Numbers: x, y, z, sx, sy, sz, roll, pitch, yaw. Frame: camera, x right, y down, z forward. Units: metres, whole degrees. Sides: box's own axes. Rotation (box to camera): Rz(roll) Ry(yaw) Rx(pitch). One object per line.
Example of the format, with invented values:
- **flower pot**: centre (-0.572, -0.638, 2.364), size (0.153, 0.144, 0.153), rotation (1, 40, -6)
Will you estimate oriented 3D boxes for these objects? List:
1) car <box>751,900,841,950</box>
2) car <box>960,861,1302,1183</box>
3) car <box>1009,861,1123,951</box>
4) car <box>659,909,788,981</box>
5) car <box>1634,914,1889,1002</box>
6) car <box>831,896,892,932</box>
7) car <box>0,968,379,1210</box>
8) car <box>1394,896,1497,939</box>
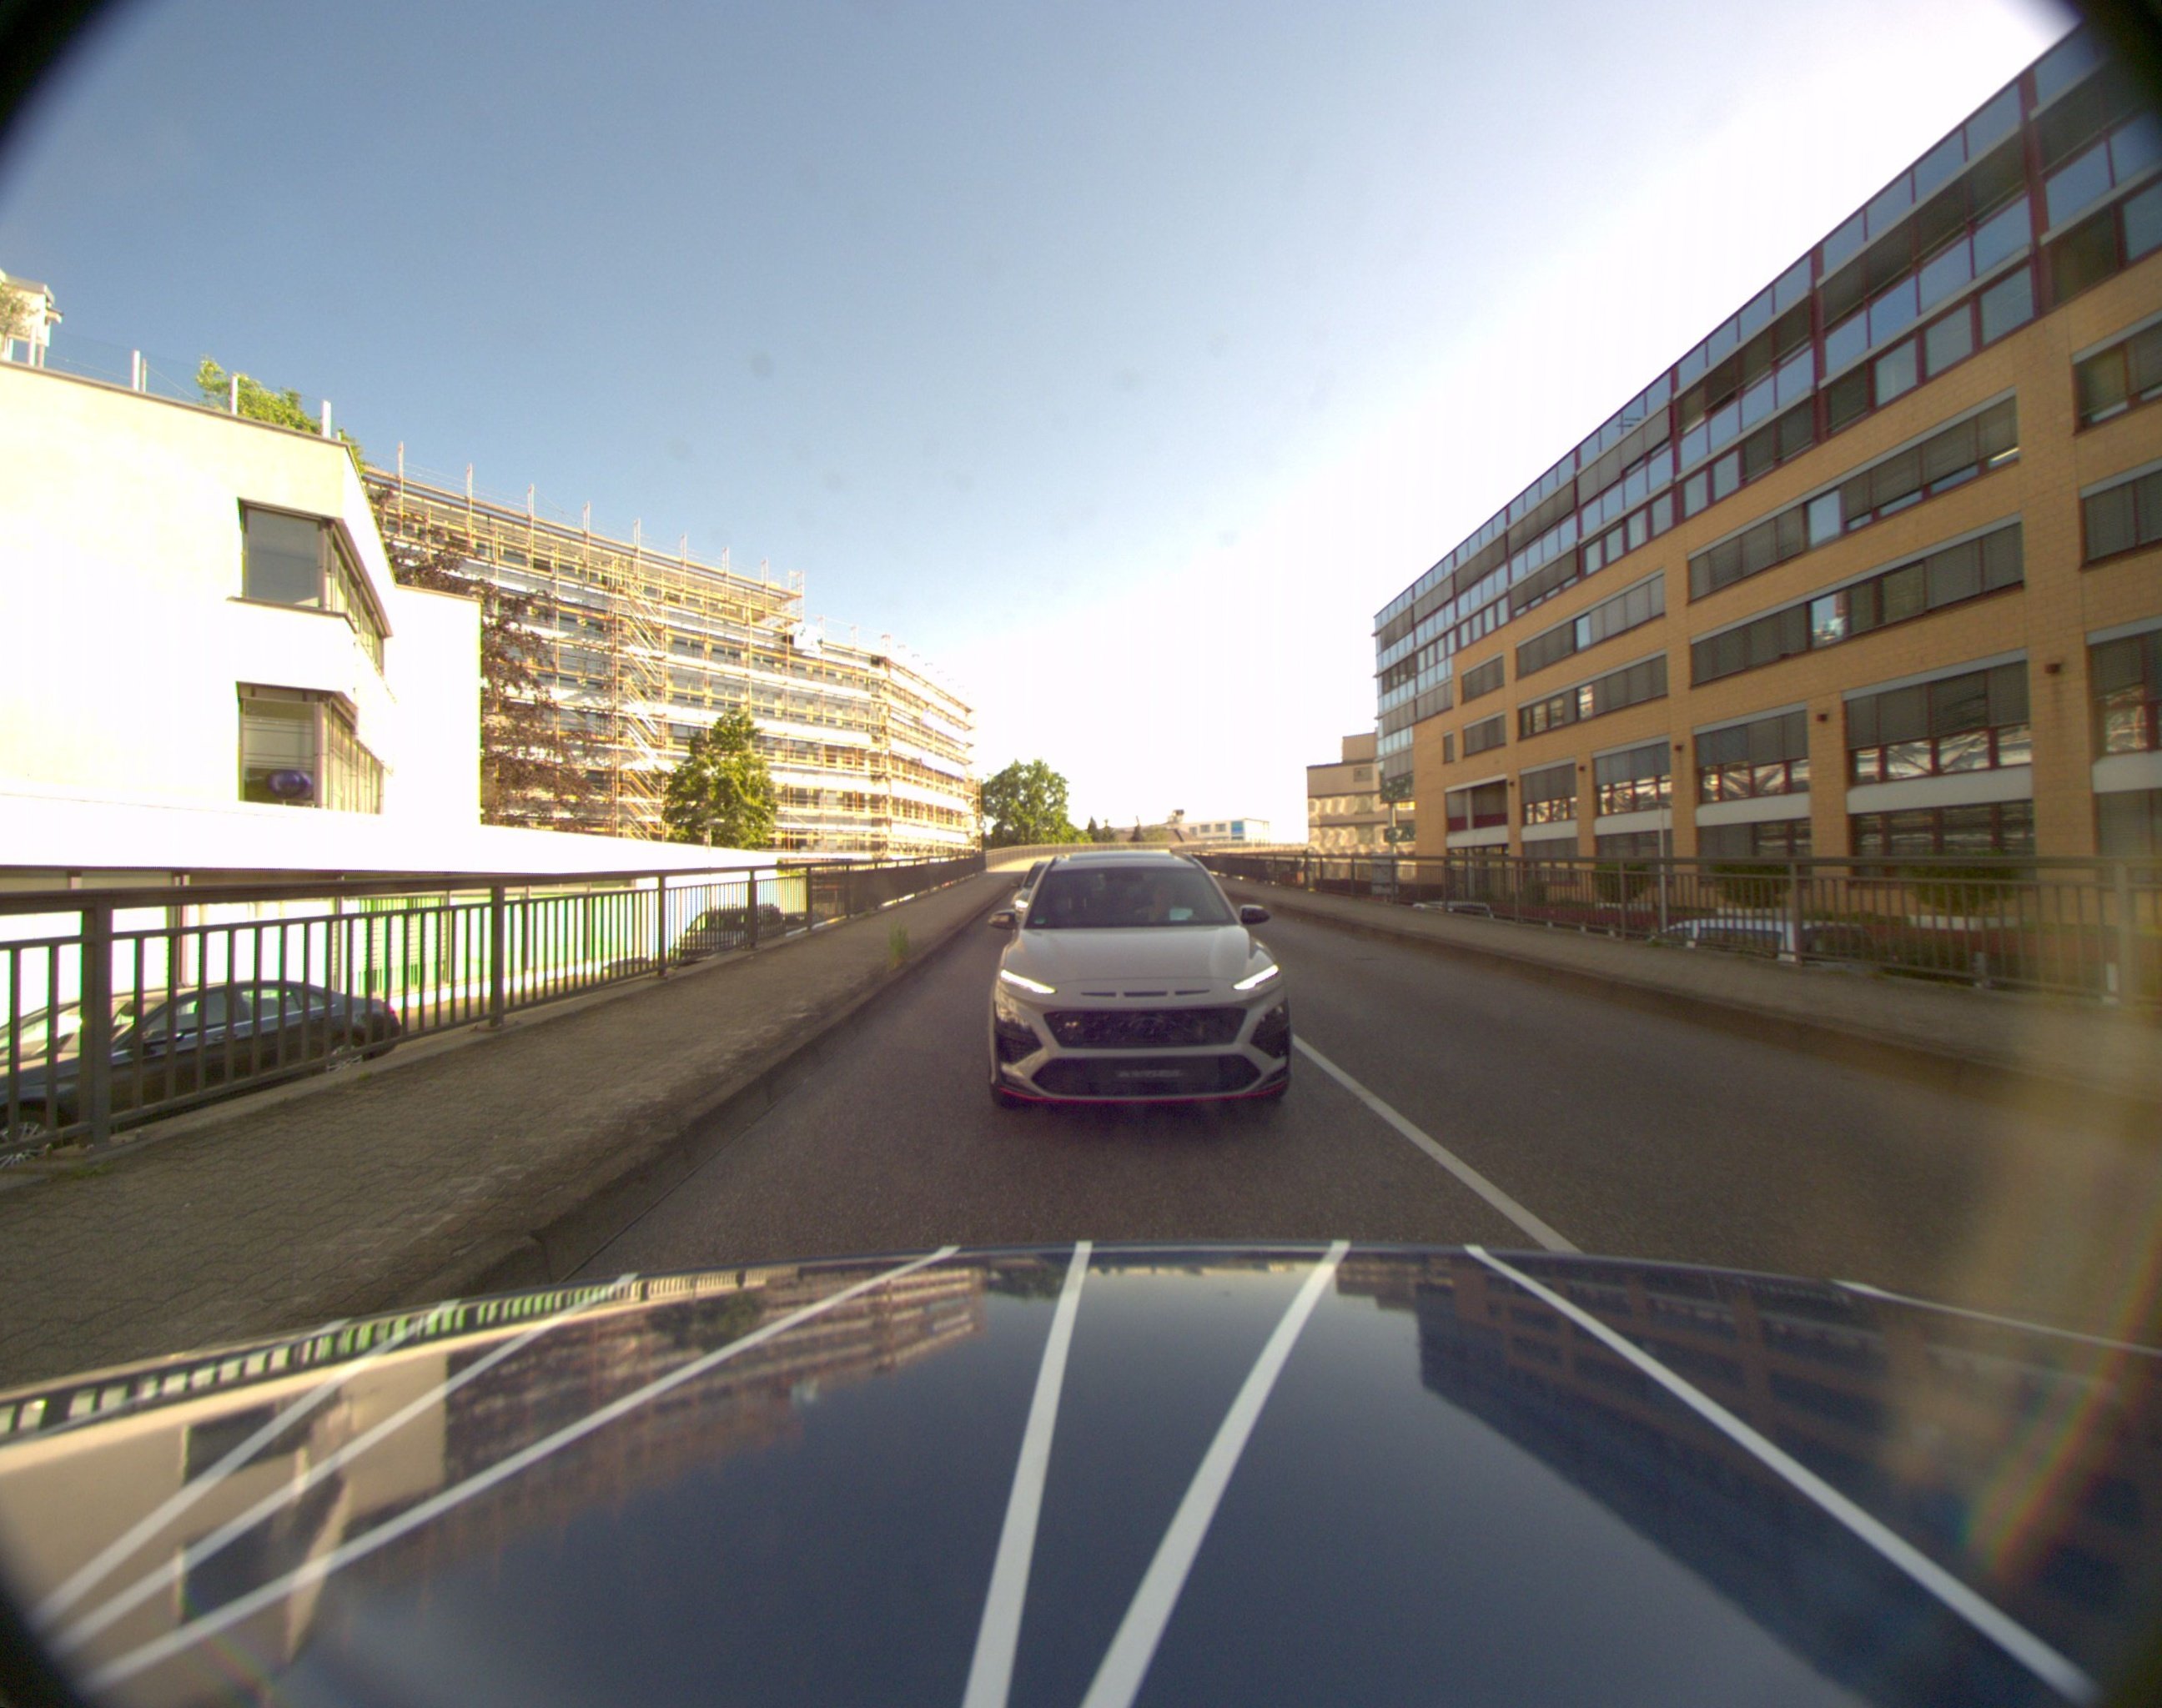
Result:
- **car**: centre (-10.095, 2.480, 27.214), size (1.726, 1.383, 4.000), rotation (-2, -1, -1)
- **car**: centre (0.282, 0.886, 5.890), size (1.749, 1.637, 4.001), rotation (0, -1, 1)
- **car**: centre (-0.293, 0.897, 14.816), size (1.902, 1.433, 4.126), rotation (0, 0, -1)
- **car**: centre (-9.913, 2.473, 21.426), size (1.726, 1.513, 4.000), rotation (-2, -1, -1)
- **car**: centre (13.043, 1.936, 14.919), size (1.580, 1.261, 3.809), rotation (0, -1, -1)
- **car**: centre (-10.217, 2.776, 35.674), size (1.726, 1.383, 4.000), rotation (-2, -1, -1)
- **car**: centre (-9.603, 2.169, 7.415), size (1.726, 1.513, 4.001), rotation (-2, -1, 1)
- **car**: centre (12.737, 2.192, 26.826), size (1.766, 1.261, 3.809), rotation (0, -1, -1)
